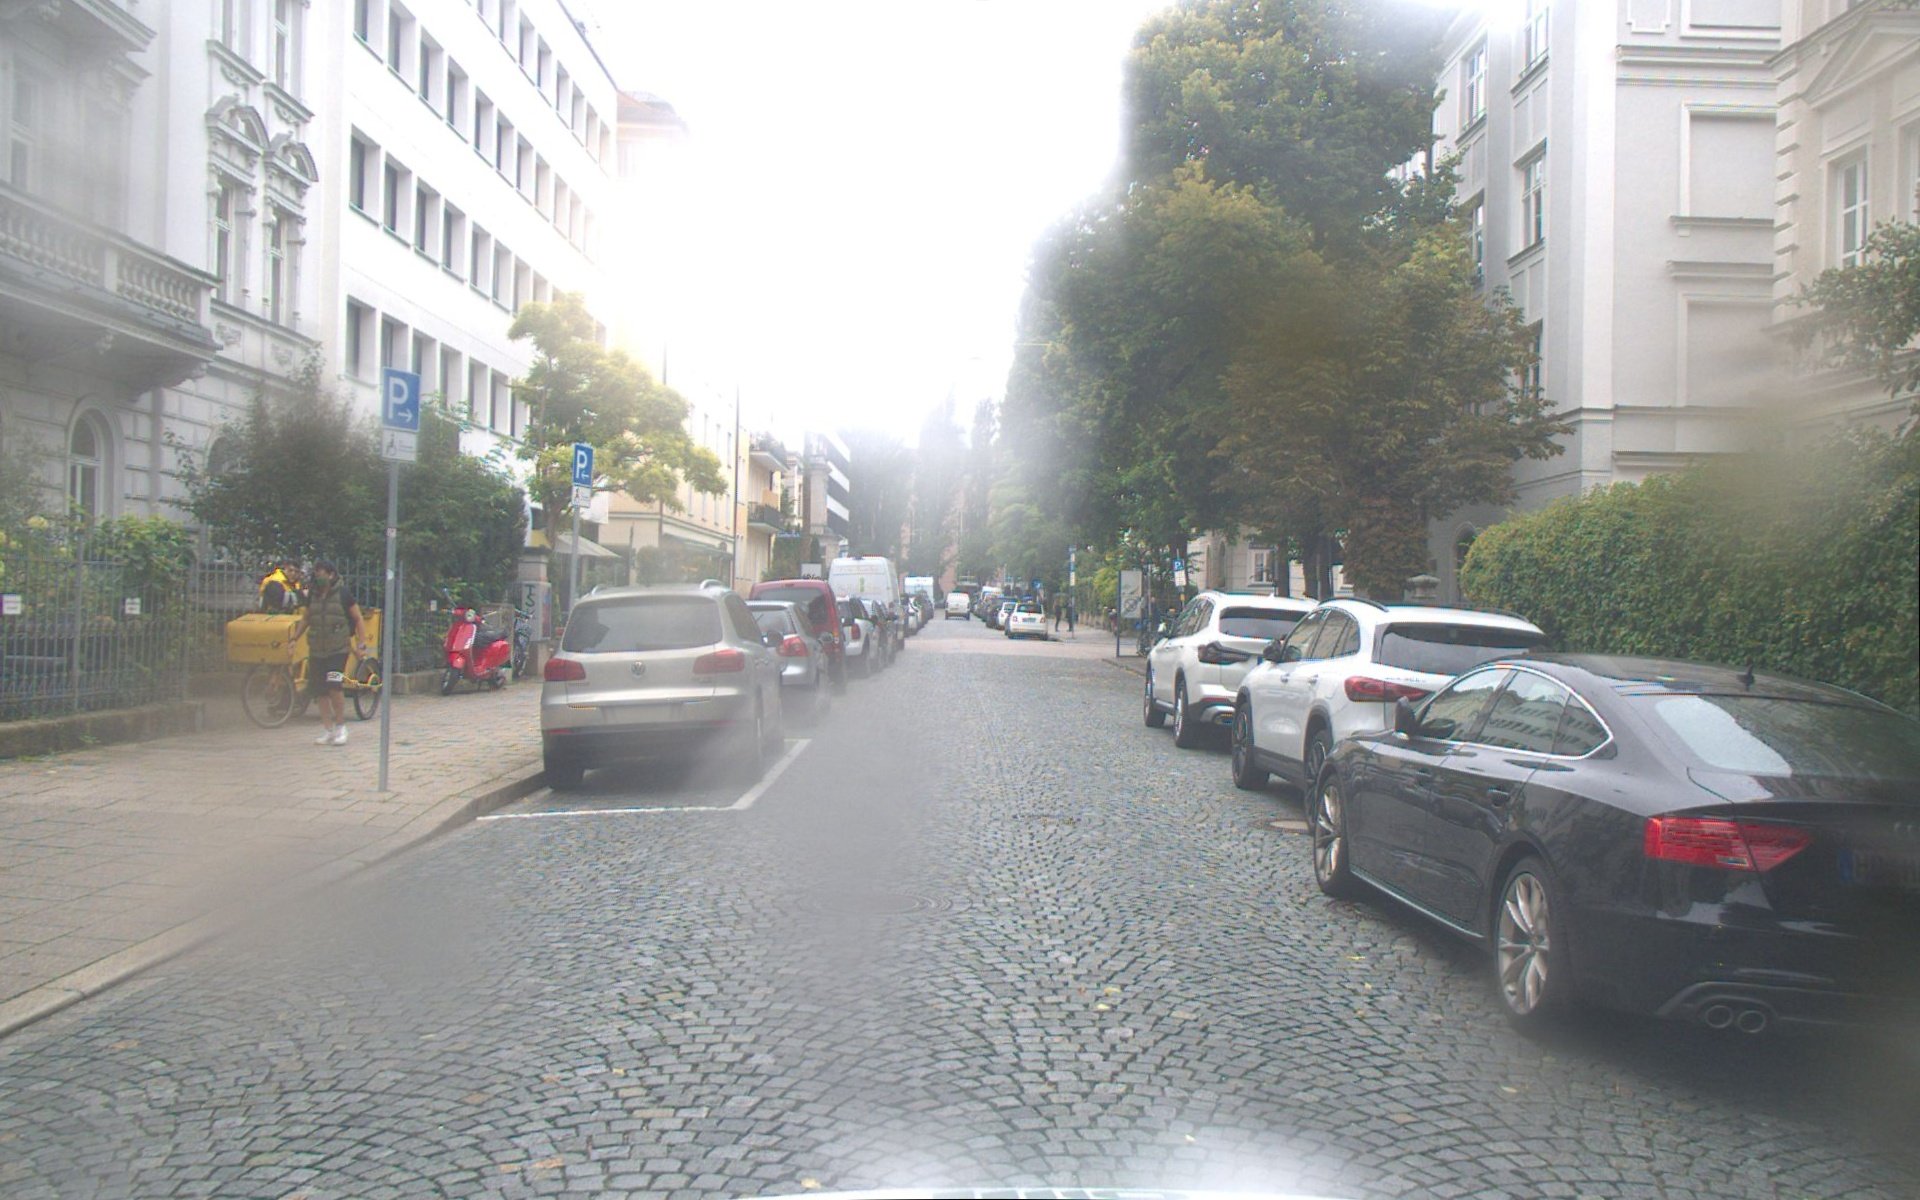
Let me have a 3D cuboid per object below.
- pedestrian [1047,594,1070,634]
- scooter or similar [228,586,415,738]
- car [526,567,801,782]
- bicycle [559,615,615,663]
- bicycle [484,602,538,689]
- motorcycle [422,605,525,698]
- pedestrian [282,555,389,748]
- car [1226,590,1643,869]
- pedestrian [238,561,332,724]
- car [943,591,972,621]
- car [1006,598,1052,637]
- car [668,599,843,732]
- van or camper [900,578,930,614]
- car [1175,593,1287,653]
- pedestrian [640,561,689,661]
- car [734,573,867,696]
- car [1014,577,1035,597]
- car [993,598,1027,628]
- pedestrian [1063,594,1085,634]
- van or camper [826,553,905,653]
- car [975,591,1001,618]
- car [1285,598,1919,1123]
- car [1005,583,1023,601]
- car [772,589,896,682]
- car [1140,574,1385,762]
[{"bbox_3d":[5.104,0.723,85.718,0.842,2.049,0.986,1,0,-17],"label":"pedestrian"},{"bbox_3d":[-6.669,0.603,17.469,0.922,1.467,2.656,1,0,0],"label":"scooter or similar"},{"bbox_3d":[-2.506,0.569,14.977,1.835,1.607,4.253,-2,0,-2],"label":"car"},{"bbox_3d":[-7.124,0.731,31.665,0.492,0.854,2.090,1,0,3],"label":"bicycle"},{"bbox_3d":[-6.811,0.665,25.048,0.645,1.242,2.078,1,0,-19],"label":"bicycle"},{"bbox_3d":[-6.702,0.680,22.885,0.609,1.217,1.866,1,0,9],"label":"motorcycle"},{"bbox_3d":[-5.750,0.464,15.258,0.679,1.717,0.719,1,0,-1],"label":"pedestrian"},{"bbox_3d":[3.301,0.807,12.427,1.781,1.607,4.207,4,0,-1],"label":"car"},{"bbox_3d":[-7.326,0.450,17.964,0.703,1.717,0.695,1,0,-1],"label":"pedestrian"},{"bbox_3d":[-0.166,0.415,117.896,1.953,2.049,4.000,1,0,0],"label":"car"},{"bbox_3d":[2.835,0.712,68.725,1.753,1.547,4.000,1,0,0],"label":"car"},{"bbox_3d":[-2.487,0.745,21.026,1.835,1.476,4.206,-1,0,-2],"label":"car"},{"bbox_3d":[-3.574,-0.303,132.204,2.210,2.790,5.097,2,0,0],"label":"van or camper"},{"bbox_3d":[9.753,0.824,59.746,3.902,2.049,2.001,1,0,7],"label":"car"},{"bbox_3d":[-5.952,0.215,33.352,0.776,1.951,0.758,2,0,-1],"label":"pedestrian"},{"bbox_3d":[-2.579,0.529,27.585,1.835,1.807,4.121,-2,0,-1],"label":"car"},{"bbox_3d":[6.681,-1.325,171.630,1.953,2.049,4.000,1,0,0],"label":"car"},{"bbox_3d":[2.683,0.661,89.385,1.753,1.547,4.000,1,0,0],"label":"car"},{"bbox_3d":[5.935,0.746,86.169,0.842,2.049,0.986,1,0,-17],"label":"pedestrian"},{"bbox_3d":[-2.664,0.087,47.617,1.953,2.698,4.000,-2,0,0],"label":"van or camper"},{"bbox_3d":[2.212,0.350,132.564,1.953,2.049,4.000,2,0,0],"label":"car"},{"bbox_3d":[2.914,0.818,7.279,1.836,1.529,4.509,4,0,-2],"label":"car"},{"bbox_3d":[6.427,-0.894,196.159,1.953,2.049,4.000,1,0,0],"label":"car"},{"bbox_3d":[-2.402,0.663,32.649,1.834,1.607,4.209,3,0,3],"label":"car"},{"bbox_3d":[3.288,0.681,18.893,1.835,1.763,4.592,4,0,0],"label":"car"}]
